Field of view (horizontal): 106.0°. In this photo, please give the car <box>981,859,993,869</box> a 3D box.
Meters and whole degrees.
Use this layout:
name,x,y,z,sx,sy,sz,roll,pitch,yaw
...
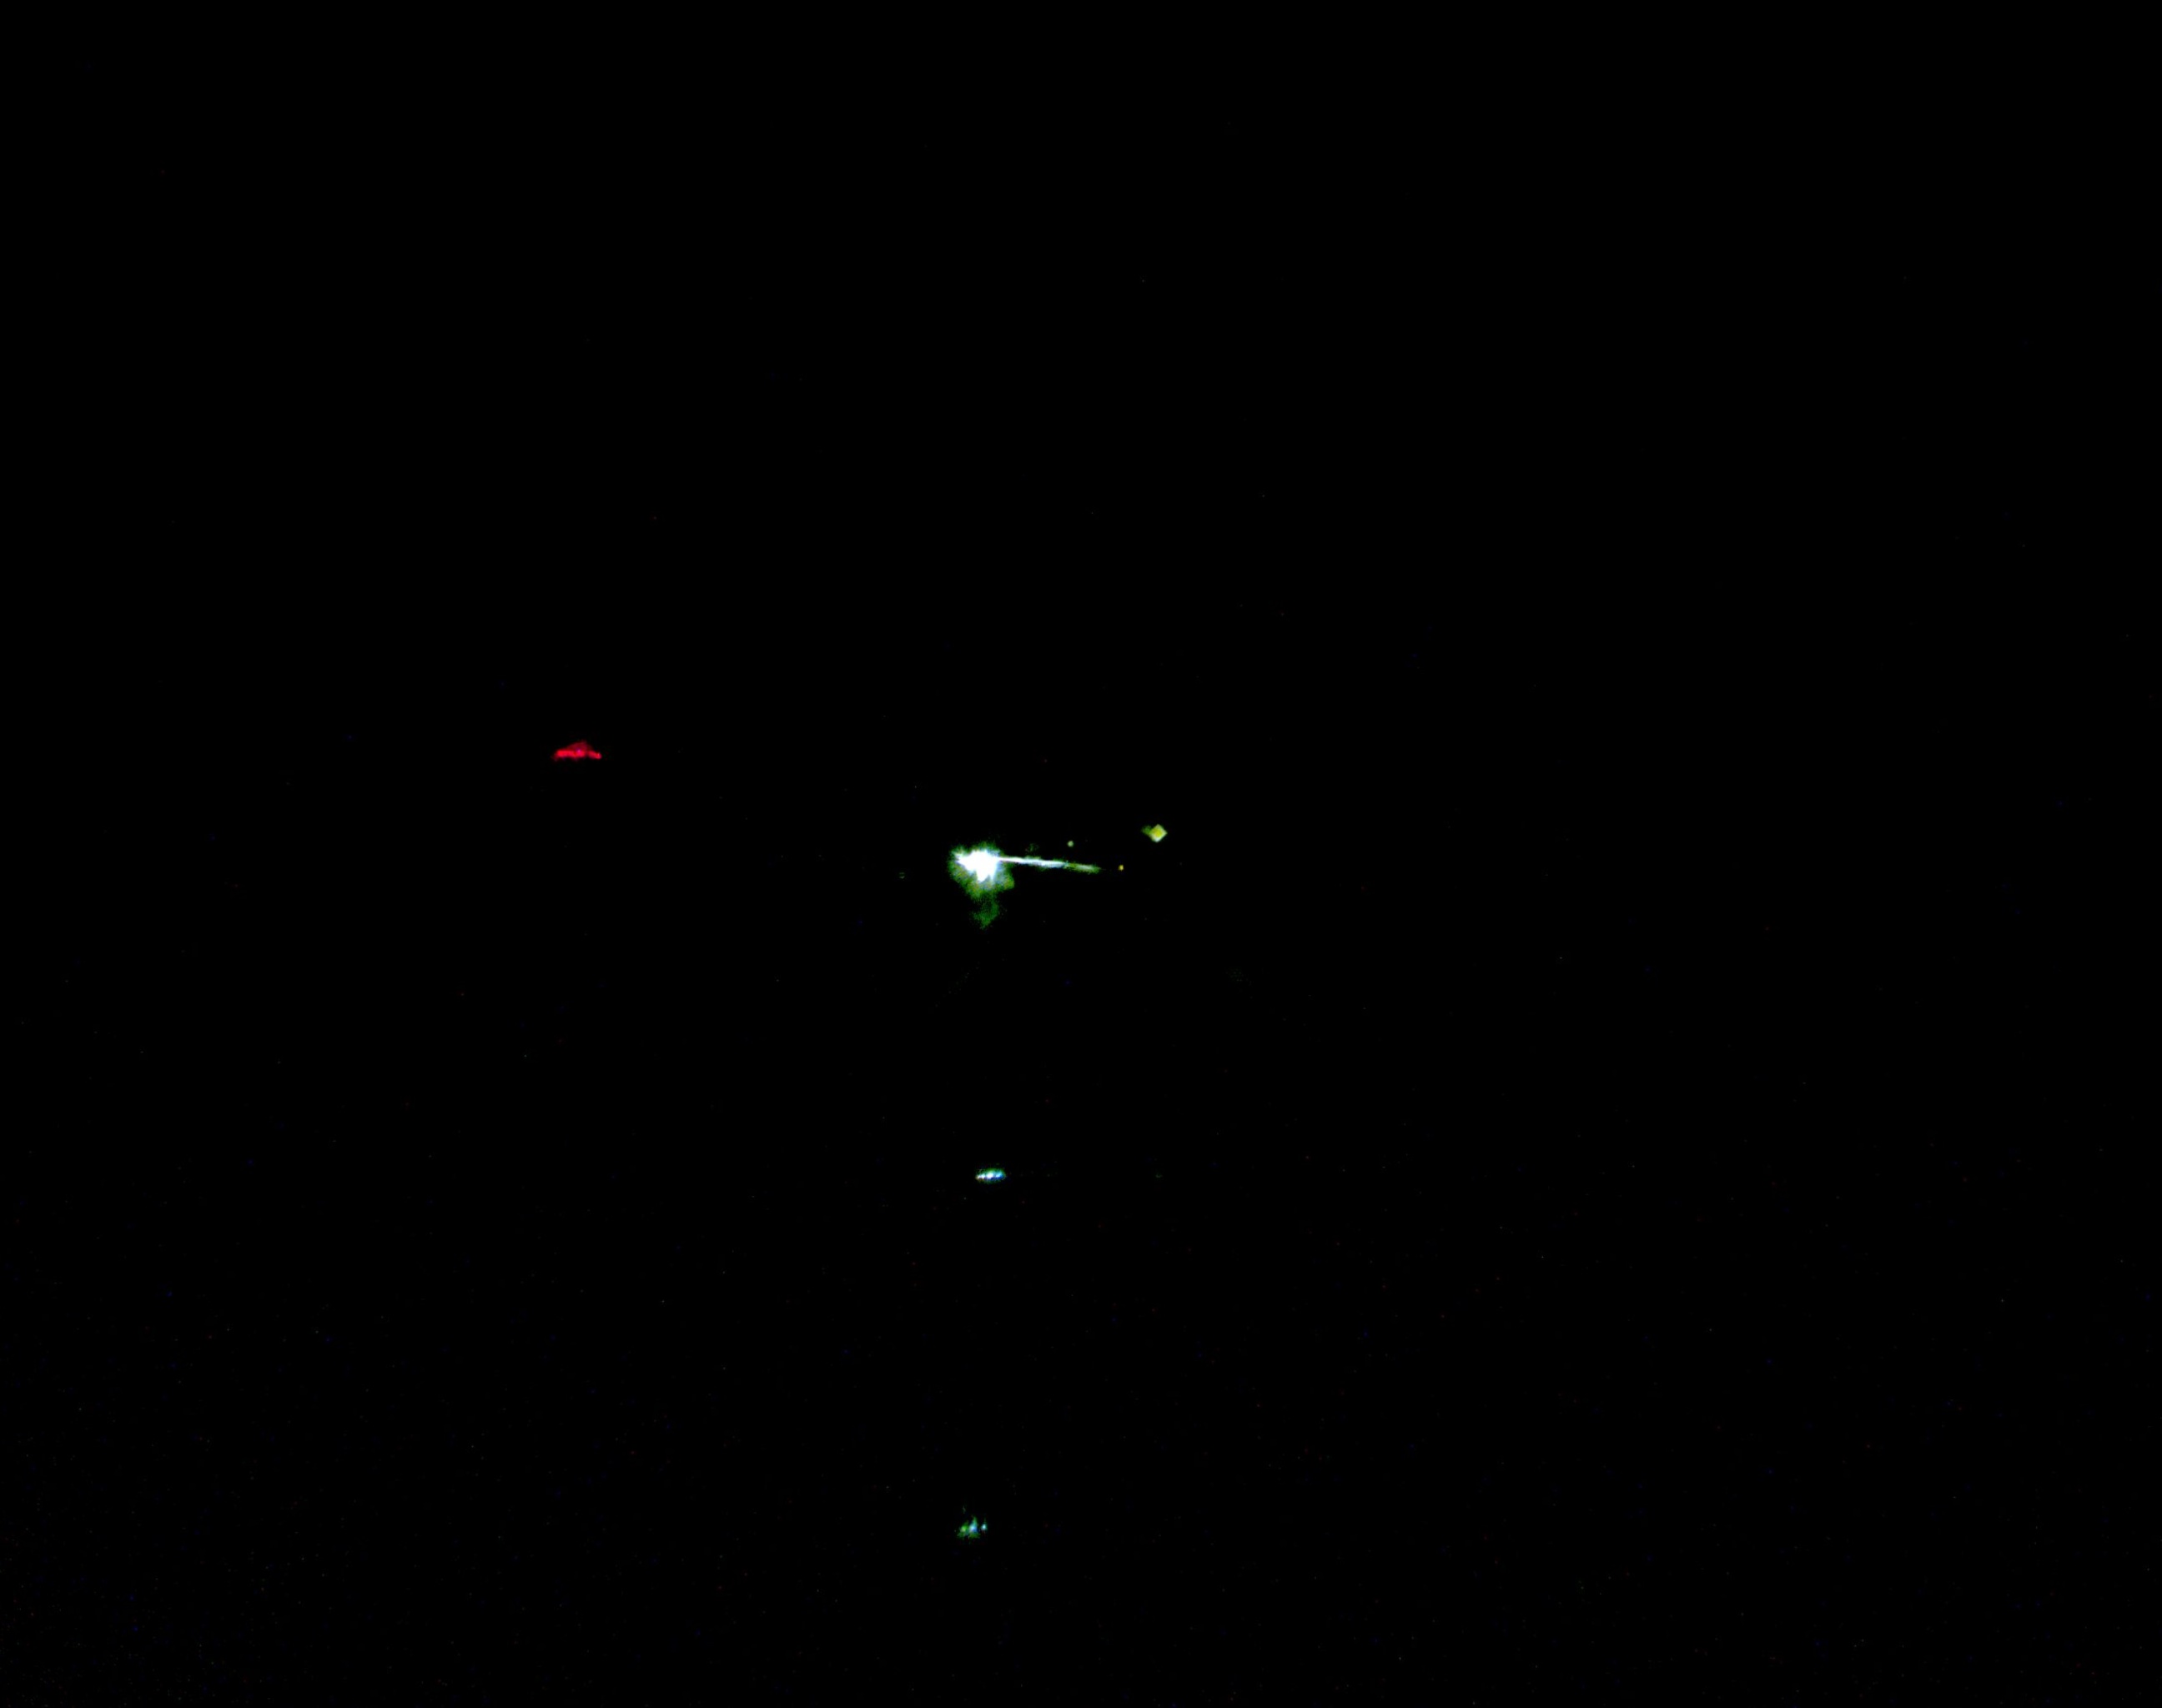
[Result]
name,x,y,z,sx,sy,sz,roll,pitch,yaw
car,-14.689,1.517,127.560,1.701,1.506,3.673,-1,0,-8
